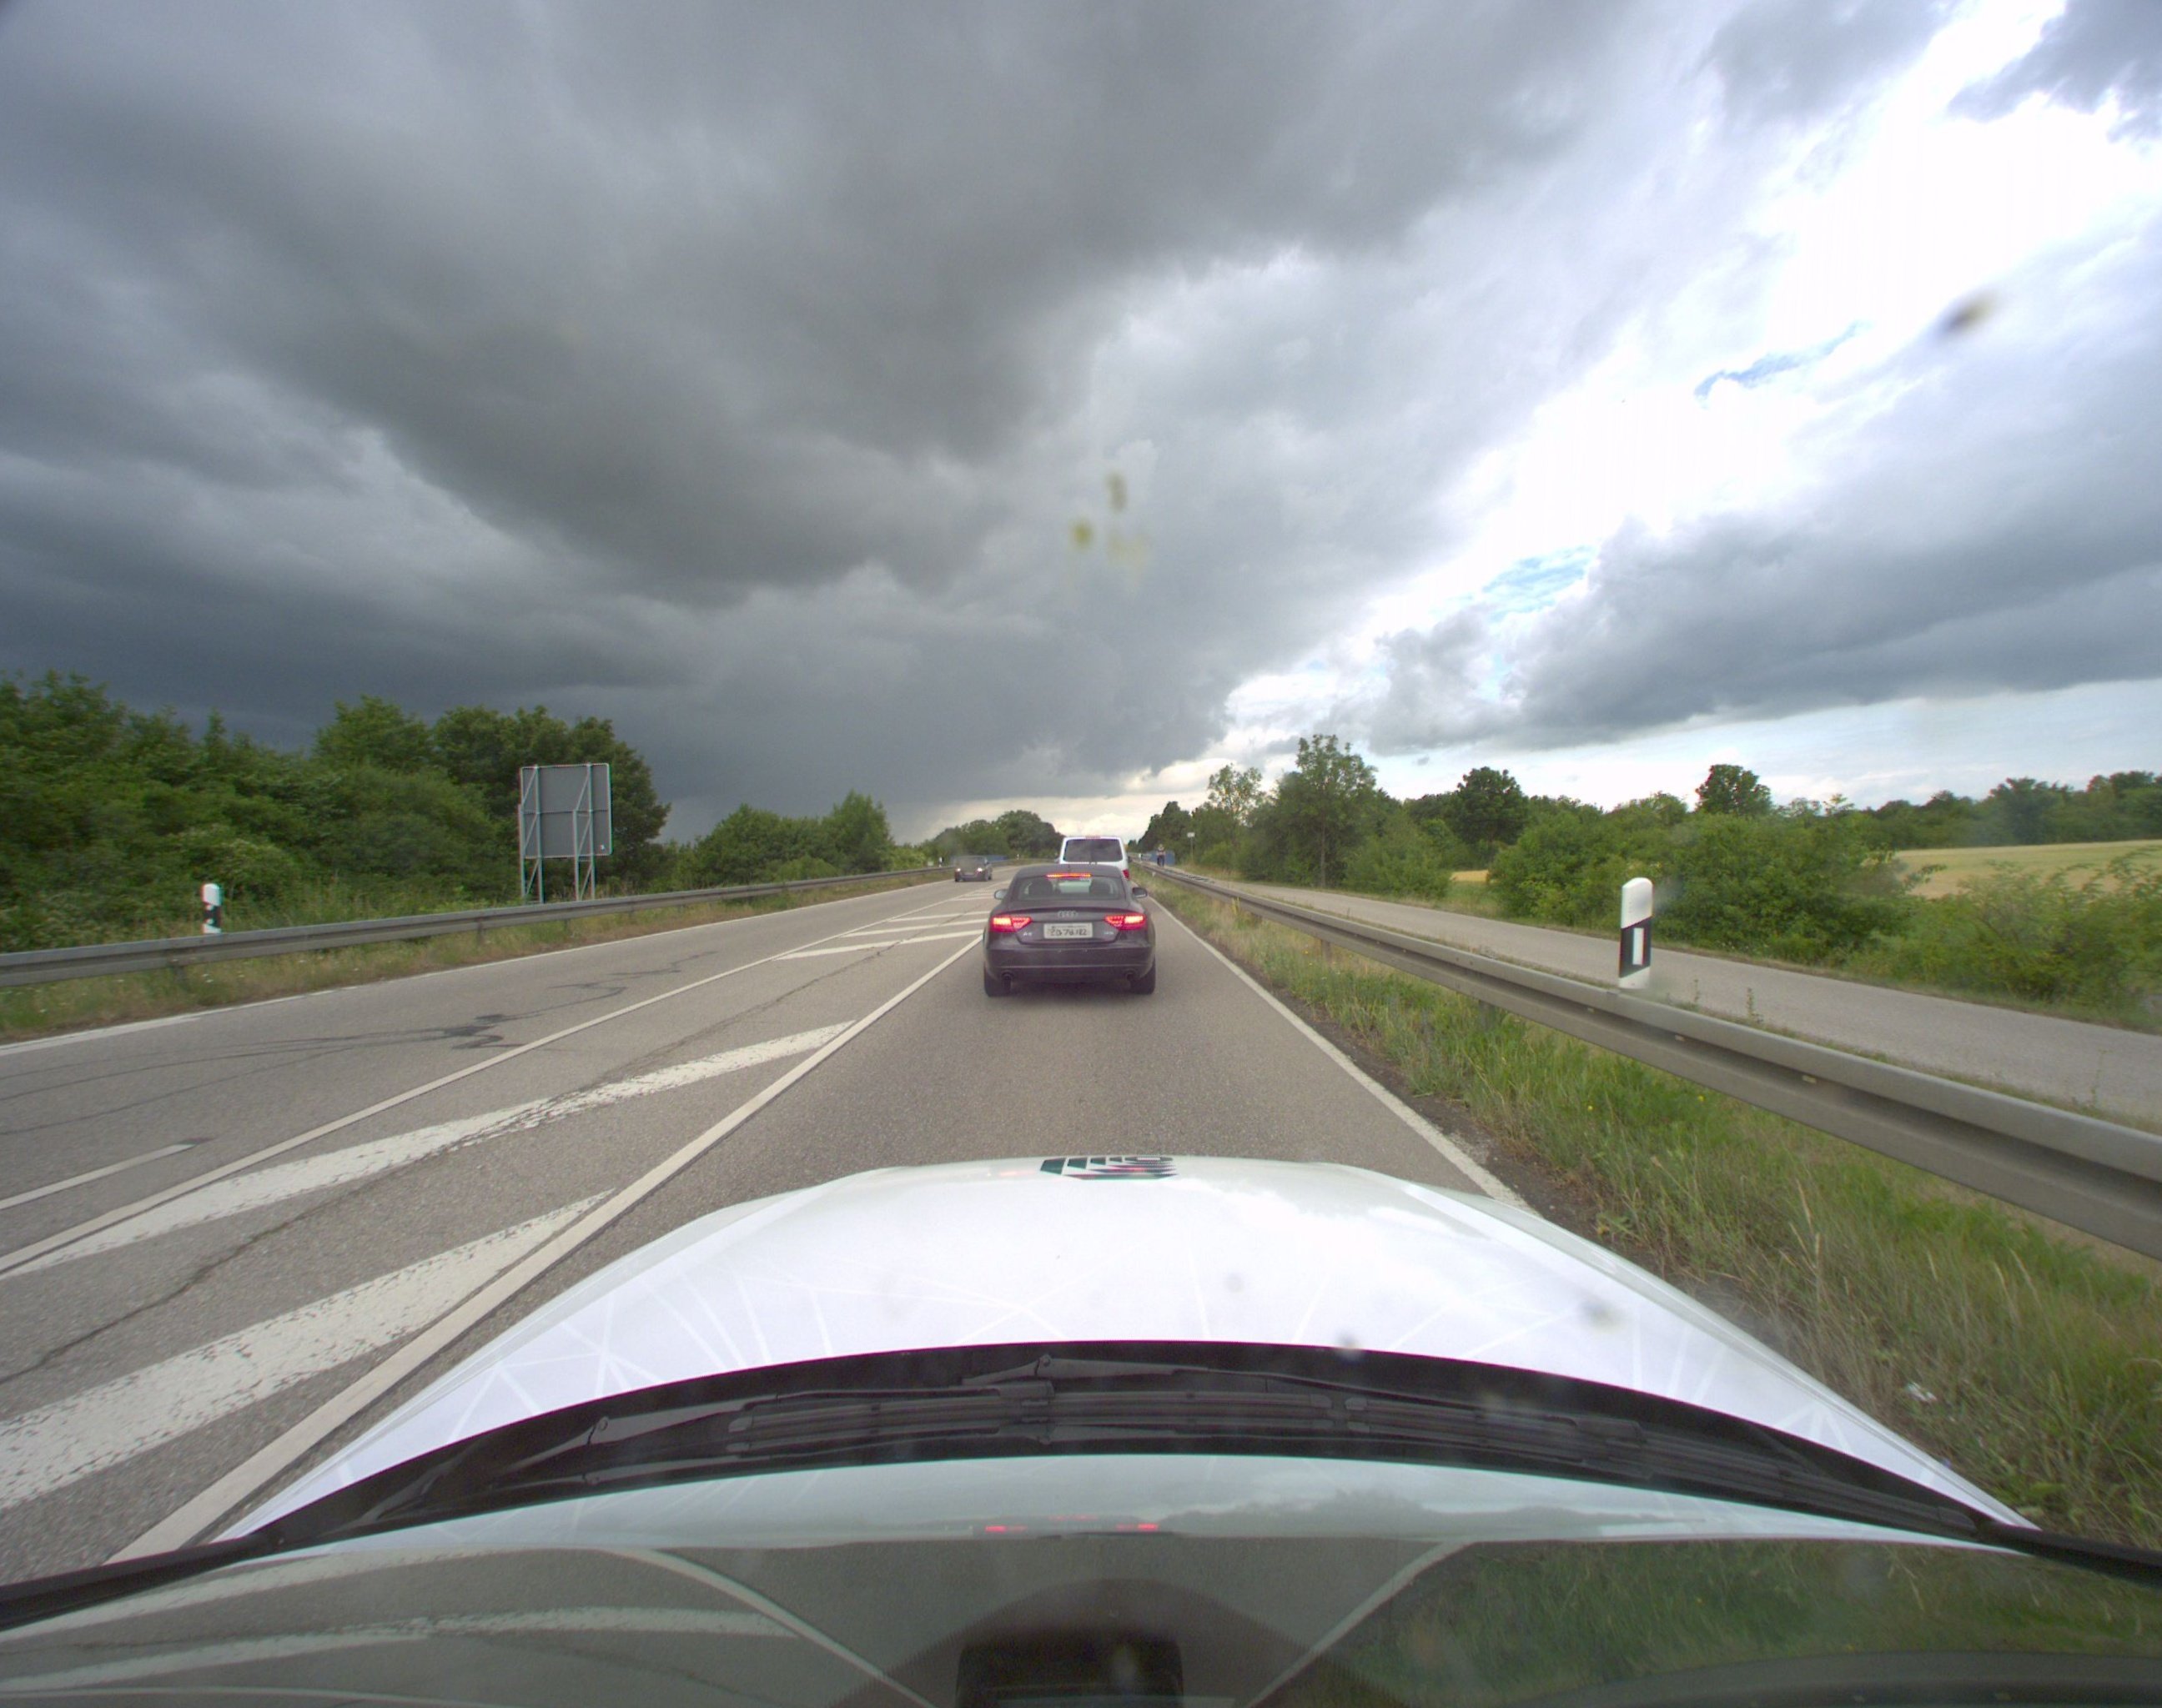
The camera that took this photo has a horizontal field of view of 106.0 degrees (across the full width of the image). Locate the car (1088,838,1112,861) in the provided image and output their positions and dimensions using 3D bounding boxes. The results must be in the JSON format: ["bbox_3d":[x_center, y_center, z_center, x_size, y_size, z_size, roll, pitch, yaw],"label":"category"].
[{"bbox_3d":[2.064,-0.487,88.244,2.438,2.504,5.043,0,0,1],"label":"car"}]

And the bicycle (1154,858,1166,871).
[{"bbox_3d":[5.741,0.748,59.076,0.663,0.920,1.830,-2,0,1],"label":"bicycle"}]

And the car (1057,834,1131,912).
[{"bbox_3d":[0.350,0.473,21.701,1.779,1.890,4.000,0,-1,1],"label":"car"}]

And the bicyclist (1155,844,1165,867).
[{"bbox_3d":[5.715,0.102,58.962,0.644,1.645,0.866,-2,0,1],"label":"bicyclist"}]

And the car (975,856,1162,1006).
[{"bbox_3d":[-0.081,0.752,9.782,1.779,1.424,4.000,0,0,1],"label":"car"}]

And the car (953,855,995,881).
[{"bbox_3d":[-6.004,0.755,45.958,1.857,1.376,3.998,-1,0,-1],"label":"car"}]
